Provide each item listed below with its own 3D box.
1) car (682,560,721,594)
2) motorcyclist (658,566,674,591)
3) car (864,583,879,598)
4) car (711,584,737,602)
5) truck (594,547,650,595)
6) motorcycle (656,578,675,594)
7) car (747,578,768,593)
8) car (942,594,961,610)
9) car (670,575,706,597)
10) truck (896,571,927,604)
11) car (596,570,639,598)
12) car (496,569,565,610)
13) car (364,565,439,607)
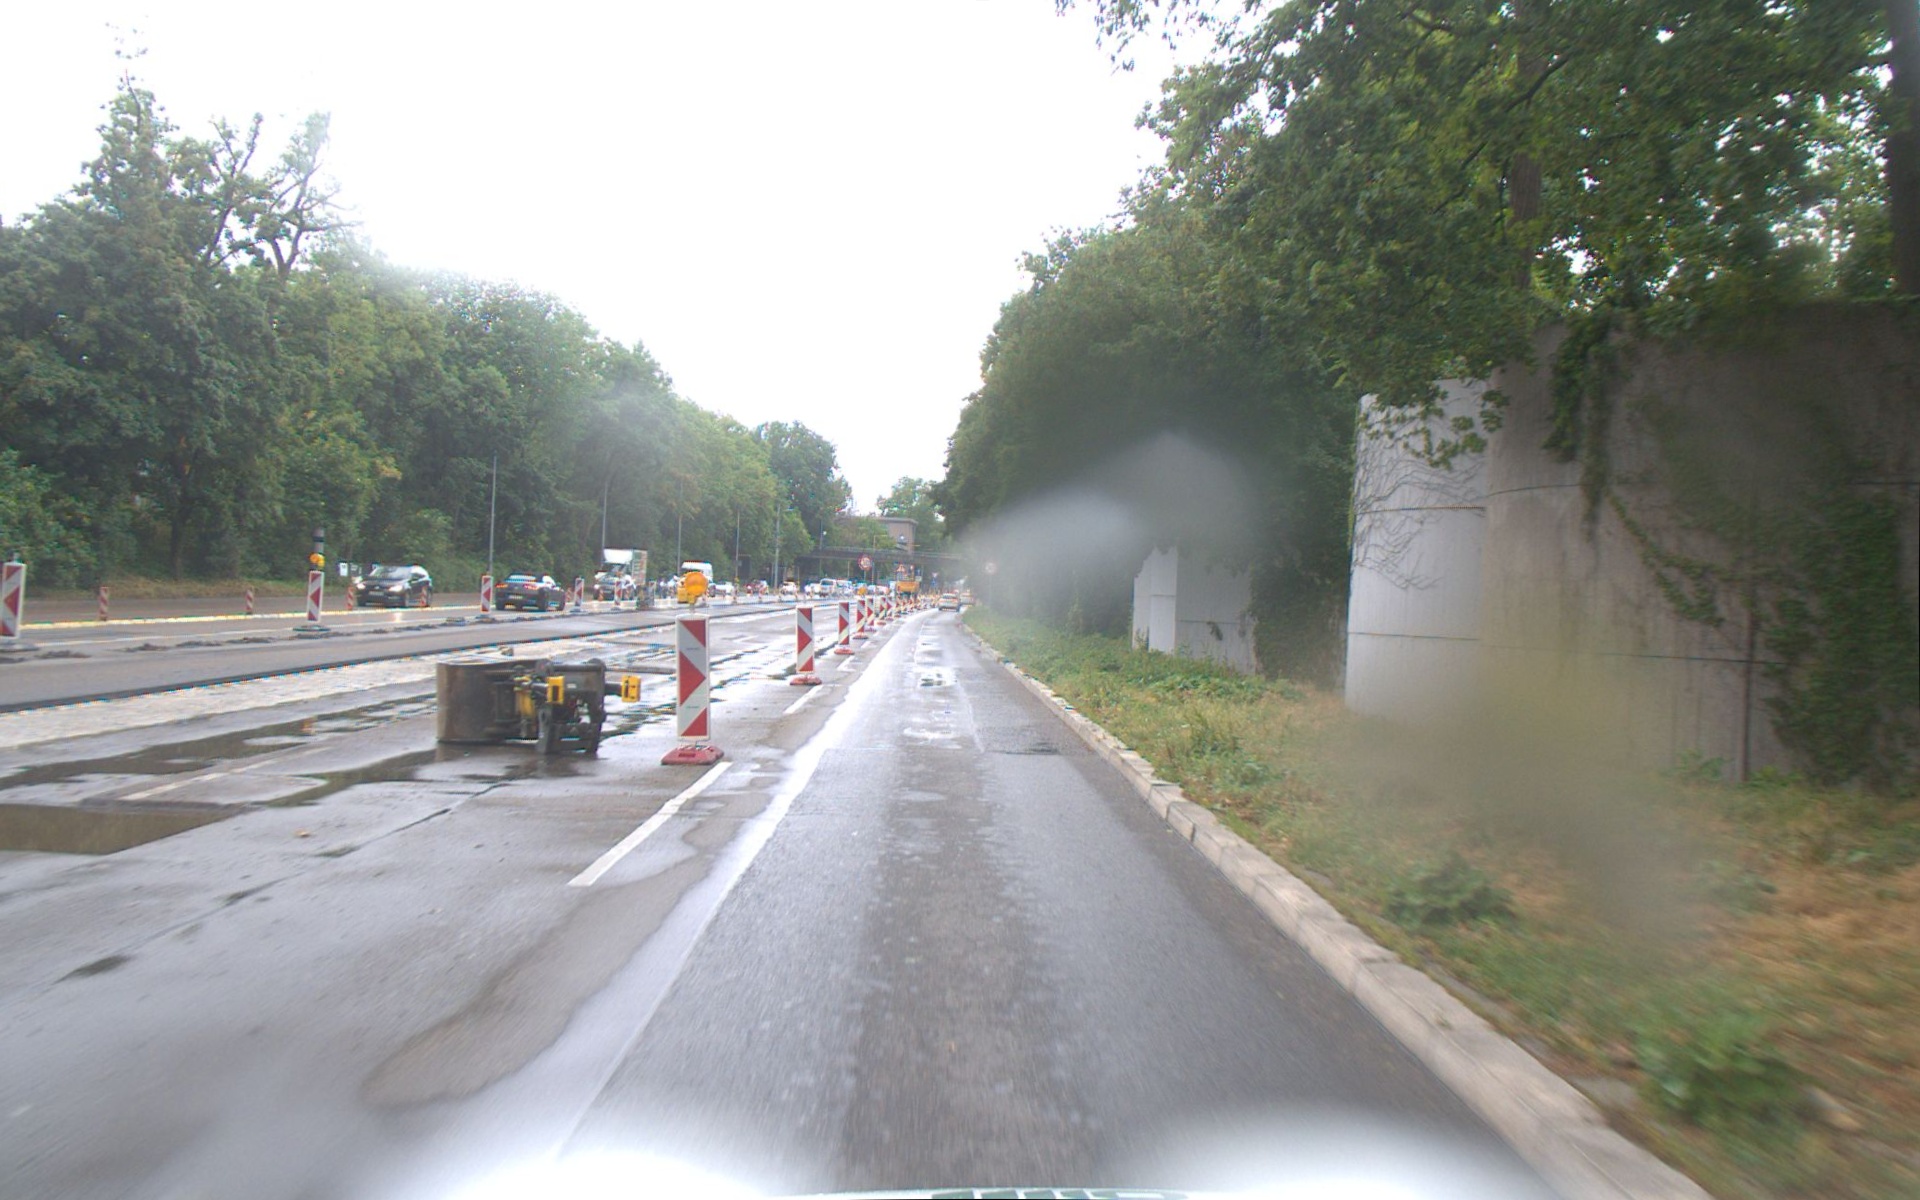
[{"bbox_3d":[-21.387,-1.869,137.046,2.057,2.624,6.853,2,0,0],"label":"car"},{"bbox_3d":[-19.113,-1.394,107.593,0.811,1.592,0.926,3,0,-1],"label":"motorcyclist"},{"bbox_3d":[-11.501,-1.266,215.112,1.636,1.840,4.321,2,2,0],"label":"car"},{"bbox_3d":[-21.541,-0.666,151.083,1.636,1.511,4.320,2,0,0],"label":"car"},{"bbox_3d":[-22.340,-1.902,109.659,2.200,2.991,6.935,2,0,0],"label":"truck"},{"bbox_3d":[-19.136,-0.909,107.587,0.811,1.032,2.366,3,0,-1],"label":"motorcycle"},{"bbox_3d":[-21.204,-1.489,173.460,1.636,1.511,4.320,2,0,0],"label":"car"},{"bbox_3d":[-0.775,0.193,144.353,1.663,1.359,3.490,0,0,-1],"label":"car"},{"bbox_3d":[-20.112,-1.041,122.498,1.920,1.557,4.436,2,0,0],"label":"car"},{"bbox_3d":[-5.601,-1.504,193.083,3.193,3.558,13.868,2,0,-1],"label":"truck"},{"bbox_3d":[-19.474,-0.909,94.115,1.636,1.440,4.319,2,0,-2],"label":"car"},{"bbox_3d":[-15.948,-0.389,61.564,1.575,1.429,4.039,2,0,-2],"label":"car"},{"bbox_3d":[-19.164,-0.477,56.862,1.419,1.355,3.858,2,0,-3],"label":"car"}]
